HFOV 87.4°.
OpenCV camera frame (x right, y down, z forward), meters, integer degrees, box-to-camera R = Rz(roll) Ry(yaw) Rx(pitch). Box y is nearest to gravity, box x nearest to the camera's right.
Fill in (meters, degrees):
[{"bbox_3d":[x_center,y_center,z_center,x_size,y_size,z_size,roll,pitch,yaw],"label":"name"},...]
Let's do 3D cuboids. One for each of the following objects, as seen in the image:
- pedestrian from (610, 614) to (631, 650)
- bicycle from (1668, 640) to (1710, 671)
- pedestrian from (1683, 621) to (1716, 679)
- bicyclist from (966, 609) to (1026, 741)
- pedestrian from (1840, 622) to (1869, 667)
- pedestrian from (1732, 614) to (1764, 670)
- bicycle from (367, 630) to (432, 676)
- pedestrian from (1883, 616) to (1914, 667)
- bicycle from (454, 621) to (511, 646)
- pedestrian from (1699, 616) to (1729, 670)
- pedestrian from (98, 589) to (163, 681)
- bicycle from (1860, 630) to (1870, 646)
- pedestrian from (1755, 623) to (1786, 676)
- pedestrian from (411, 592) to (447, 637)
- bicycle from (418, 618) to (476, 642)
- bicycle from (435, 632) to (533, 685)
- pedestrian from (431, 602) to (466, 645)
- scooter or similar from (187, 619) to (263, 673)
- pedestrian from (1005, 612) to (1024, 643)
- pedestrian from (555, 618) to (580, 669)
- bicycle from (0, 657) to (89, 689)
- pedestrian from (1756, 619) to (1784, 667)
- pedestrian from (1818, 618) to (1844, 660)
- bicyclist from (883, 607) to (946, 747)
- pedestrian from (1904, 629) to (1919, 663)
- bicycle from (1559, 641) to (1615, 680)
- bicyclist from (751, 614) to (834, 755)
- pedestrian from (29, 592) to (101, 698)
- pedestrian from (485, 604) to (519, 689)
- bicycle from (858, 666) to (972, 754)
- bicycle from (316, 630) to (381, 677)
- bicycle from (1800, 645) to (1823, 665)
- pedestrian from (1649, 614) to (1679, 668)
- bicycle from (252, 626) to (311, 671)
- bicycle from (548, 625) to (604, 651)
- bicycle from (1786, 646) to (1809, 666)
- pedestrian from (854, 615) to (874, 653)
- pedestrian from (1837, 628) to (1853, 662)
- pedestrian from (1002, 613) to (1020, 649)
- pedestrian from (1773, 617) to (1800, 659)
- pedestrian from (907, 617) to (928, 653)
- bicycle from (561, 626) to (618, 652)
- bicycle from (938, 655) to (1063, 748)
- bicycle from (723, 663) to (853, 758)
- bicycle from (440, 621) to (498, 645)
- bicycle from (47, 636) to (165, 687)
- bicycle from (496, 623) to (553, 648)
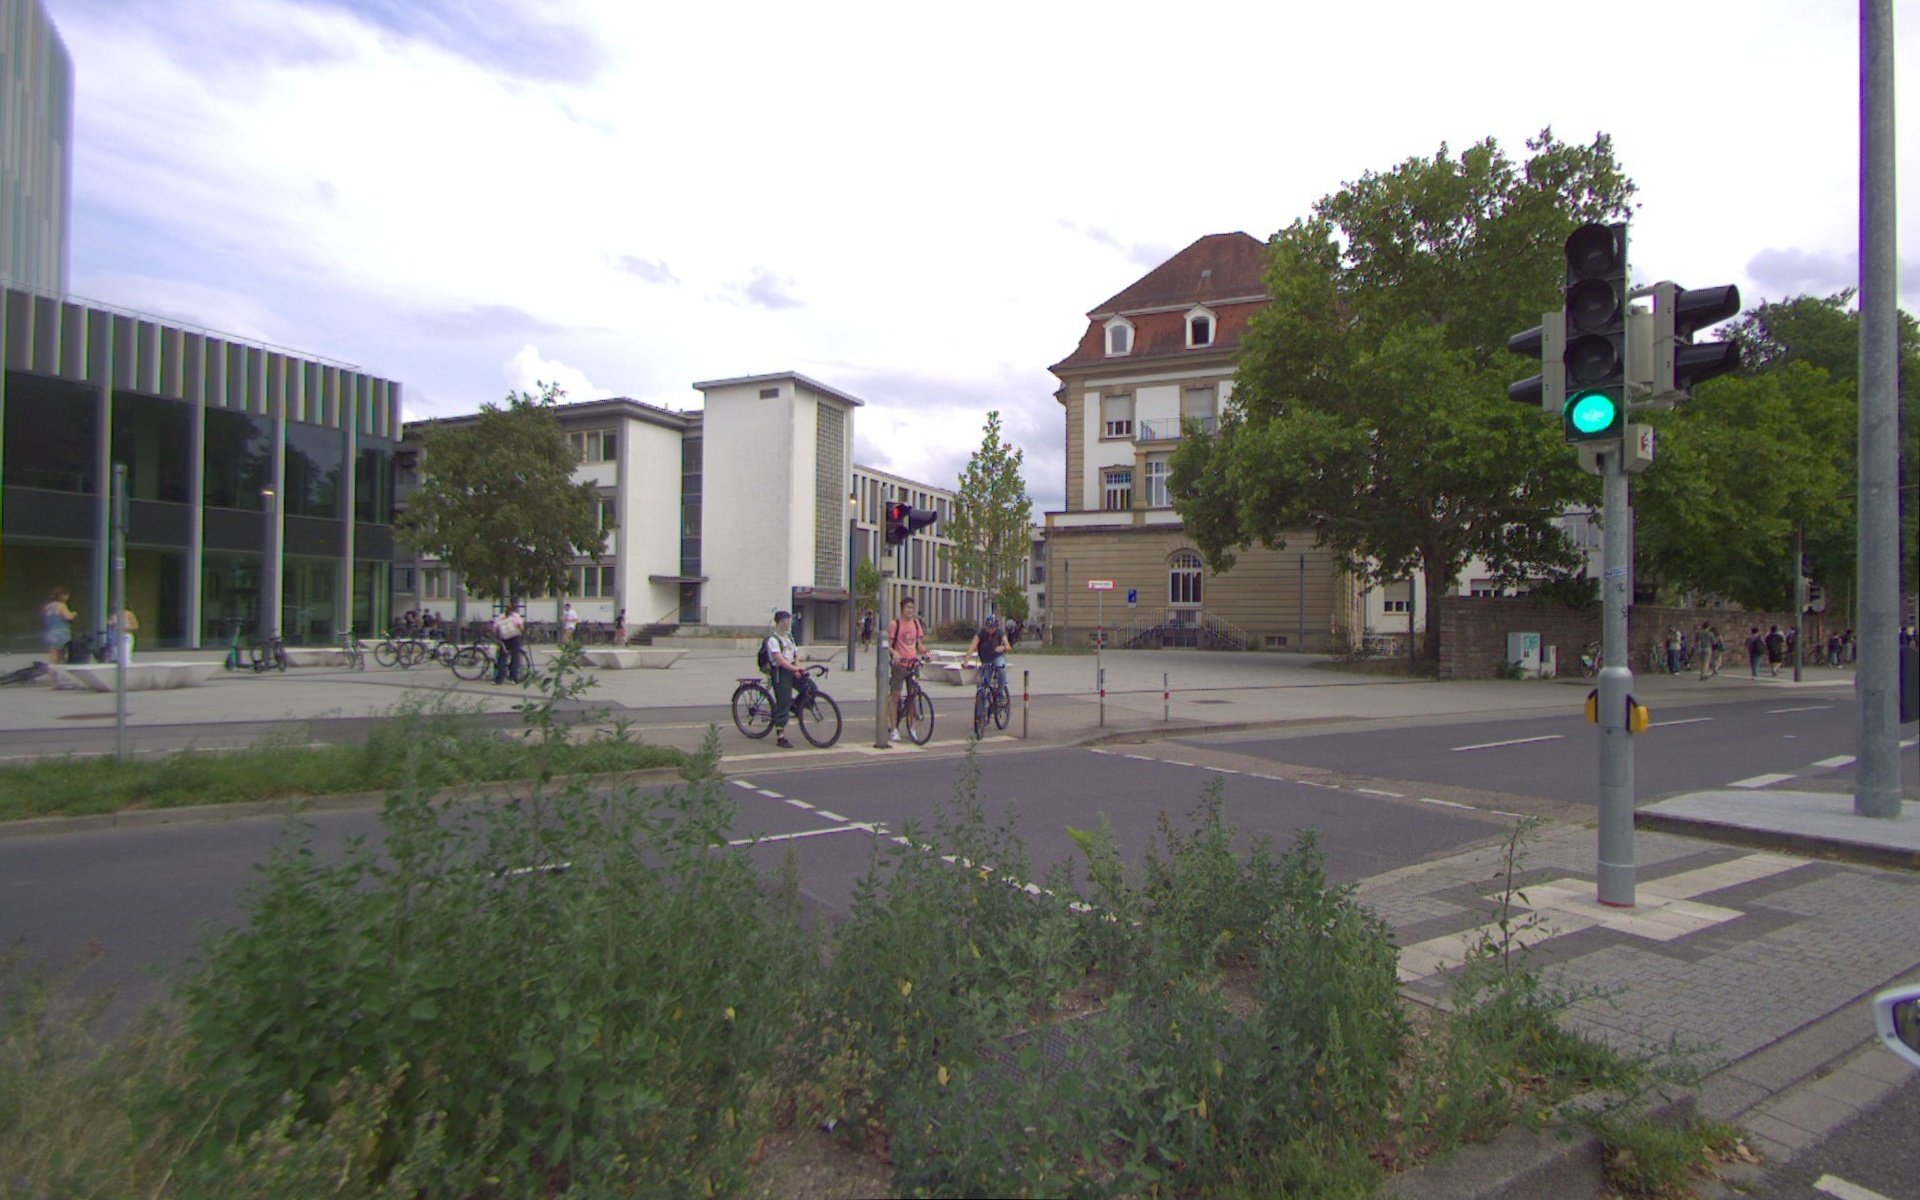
[{"bbox_3d":[-15.115,1.417,44.673,0.644,1.569,0.599,0,-1,12],"label":"pedestrian"},{"bbox_3d":[26.134,1.978,36.007,1.961,1.072,0.545,1,2,-35],"label":"bicycle"},{"bbox_3d":[23.536,1.579,31.968,0.733,1.806,0.782,1,-2,30],"label":"pedestrian"},{"bbox_3d":[0.513,1.059,14.437,0.558,1.831,0.593,2,0,-44],"label":"bicyclist"},{"bbox_3d":[36.774,1.824,41.290,0.748,1.806,0.922,1,-2,34],"label":"pedestrian"},{"bbox_3d":[26.221,1.391,33.431,0.748,1.806,0.782,1,-2,33],"label":"pedestrian"},{"bbox_3d":[-14.795,1.367,26.468,0.792,1.104,2.647,1,-2,-45],"label":"bicycle"},{"bbox_3d":[33.670,1.477,36.054,0.749,1.806,0.719,0,-2,39],"label":"pedestrian"},{"bbox_3d":[-23.246,1.616,48.974,0.732,1.149,2.671,0,-1,25],"label":"bicycle"},{"bbox_3d":[26.128,1.484,34.814,0.748,1.806,0.782,1,-2,31],"label":"pedestrian"},{"bbox_3d":[-15.055,0.631,18.238,0.717,1.621,0.677,0,-1,29],"label":"pedestrian"},{"bbox_3d":[52.574,2.227,58.319,0.343,0.890,1.513,3,0,44],"label":"bicycle"},{"bbox_3d":[28.378,1.734,35.184,0.748,1.806,0.782,1,-2,34],"label":"pedestrian"},{"bbox_3d":[-23.738,0.646,44.904,1.051,1.956,0.974,1,0,26],"label":"pedestrian"},{"bbox_3d":[-25.548,1.476,50.059,0.732,1.149,2.671,0,-1,25],"label":"bicycle"},{"bbox_3d":[-9.416,1.138,19.893,1.727,1.012,0.437,1,-1,-28],"label":"bicycle"},{"bbox_3d":[-23.522,1.084,46.214,1.051,1.956,0.974,0,-1,26],"label":"pedestrian"},{"bbox_3d":[-17.461,1.070,23.855,2.086,1.214,0.595,0,-1,28],"label":"scooter or similar"},{"bbox_3d":[3.652,1.855,66.919,0.899,2.040,1.232,0,-1,20],"label":"pedestrian"},{"bbox_3d":[-14.249,1.566,36.441,0.588,1.802,0.633,0,-1,42],"label":"pedestrian"},{"bbox_3d":[-17.896,1.389,19.247,2.205,0.528,0.624,0,-1,12],"label":"bicycle"},{"bbox_3d":[30.962,1.636,38.402,0.748,1.806,0.912,1,-2,34],"label":"pedestrian"},{"bbox_3d":[37.810,1.693,43.608,0.748,1.806,0.782,1,-2,34],"label":"pedestrian"},{"bbox_3d":[-0.618,1.019,13.583,0.558,1.831,0.593,2,0,-44],"label":"bicyclist"},{"bbox_3d":[47.409,2.294,50.032,0.623,1.690,0.554,4,-2,-44],"label":"pedestrian"},{"bbox_3d":[19.482,1.867,31.183,2.141,1.141,0.574,1,2,-33],"label":"bicycle"},{"bbox_3d":[-2.119,1.039,12.694,0.719,1.695,0.719,2,0,-44],"label":"bicyclist"},{"bbox_3d":[-15.330,0.757,17.209,0.716,1.763,0.678,0,-1,26],"label":"pedestrian"},{"bbox_3d":[-8.829,0.893,19.352,0.566,1.602,0.649,1,-1,-26],"label":"pedestrian"},{"bbox_3d":[-0.635,1.448,13.590,0.568,1.002,1.670,2,0,-44],"label":"bicycle"},{"bbox_3d":[-15.614,1.337,25.620,0.792,1.104,2.647,1,-2,-45],"label":"bicycle"},{"bbox_3d":[38.771,2.500,45.720,1.606,0.807,0.437,0,2,-38],"label":"bicycle"},{"bbox_3d":[24.087,1.398,34.378,0.733,1.806,0.783,1,-2,28],"label":"pedestrian"},{"bbox_3d":[-16.399,1.140,24.246,0.669,1.012,2.647,1,-2,-45],"label":"bicycle"},{"bbox_3d":[-17.798,1.739,46.675,0.732,1.149,2.671,0,-1,25],"label":"bicycle"},{"bbox_3d":[36.985,2.452,44.359,1.606,0.807,0.437,0,2,-38],"label":"bicycle"},{"bbox_3d":[-4.066,1.448,42.688,0.648,1.569,0.706,1,-1,-24],"label":"pedestrian"},{"bbox_3d":[43.442,2.207,49.312,0.579,1.613,0.732,0,-2,40],"label":"pedestrian"},{"bbox_3d":[2.925,1.742,57.396,0.778,2.040,0.836,0,-1,20],"label":"pedestrian"},{"bbox_3d":[34.072,1.559,41.424,0.748,1.693,0.921,1,2,34],"label":"pedestrian"},{"bbox_3d":[-1.887,1.547,44.821,0.726,1.569,0.700,1,-1,-24],"label":"pedestrian"},{"bbox_3d":[-16.884,1.755,45.836,0.732,1.149,2.671,0,-1,25],"label":"bicycle"},{"bbox_3d":[0.547,1.407,14.356,0.603,1.185,1.870,1,-1,-45],"label":"bicycle"},{"bbox_3d":[-2.213,1.366,12.785,0.724,1.002,1.798,2,0,-44],"label":"bicycle"},{"bbox_3d":[-24.252,1.596,49.687,0.732,1.149,2.671,0,-1,25],"label":"bicycle"},{"bbox_3d":[-17.627,1.259,20.732,2.205,0.998,0.624,0,-1,12],"label":"bicycle"},{"bbox_3d":[-20.815,1.672,48.031,0.732,1.149,2.671,0,-1,25],"label":"bicycle"}]
